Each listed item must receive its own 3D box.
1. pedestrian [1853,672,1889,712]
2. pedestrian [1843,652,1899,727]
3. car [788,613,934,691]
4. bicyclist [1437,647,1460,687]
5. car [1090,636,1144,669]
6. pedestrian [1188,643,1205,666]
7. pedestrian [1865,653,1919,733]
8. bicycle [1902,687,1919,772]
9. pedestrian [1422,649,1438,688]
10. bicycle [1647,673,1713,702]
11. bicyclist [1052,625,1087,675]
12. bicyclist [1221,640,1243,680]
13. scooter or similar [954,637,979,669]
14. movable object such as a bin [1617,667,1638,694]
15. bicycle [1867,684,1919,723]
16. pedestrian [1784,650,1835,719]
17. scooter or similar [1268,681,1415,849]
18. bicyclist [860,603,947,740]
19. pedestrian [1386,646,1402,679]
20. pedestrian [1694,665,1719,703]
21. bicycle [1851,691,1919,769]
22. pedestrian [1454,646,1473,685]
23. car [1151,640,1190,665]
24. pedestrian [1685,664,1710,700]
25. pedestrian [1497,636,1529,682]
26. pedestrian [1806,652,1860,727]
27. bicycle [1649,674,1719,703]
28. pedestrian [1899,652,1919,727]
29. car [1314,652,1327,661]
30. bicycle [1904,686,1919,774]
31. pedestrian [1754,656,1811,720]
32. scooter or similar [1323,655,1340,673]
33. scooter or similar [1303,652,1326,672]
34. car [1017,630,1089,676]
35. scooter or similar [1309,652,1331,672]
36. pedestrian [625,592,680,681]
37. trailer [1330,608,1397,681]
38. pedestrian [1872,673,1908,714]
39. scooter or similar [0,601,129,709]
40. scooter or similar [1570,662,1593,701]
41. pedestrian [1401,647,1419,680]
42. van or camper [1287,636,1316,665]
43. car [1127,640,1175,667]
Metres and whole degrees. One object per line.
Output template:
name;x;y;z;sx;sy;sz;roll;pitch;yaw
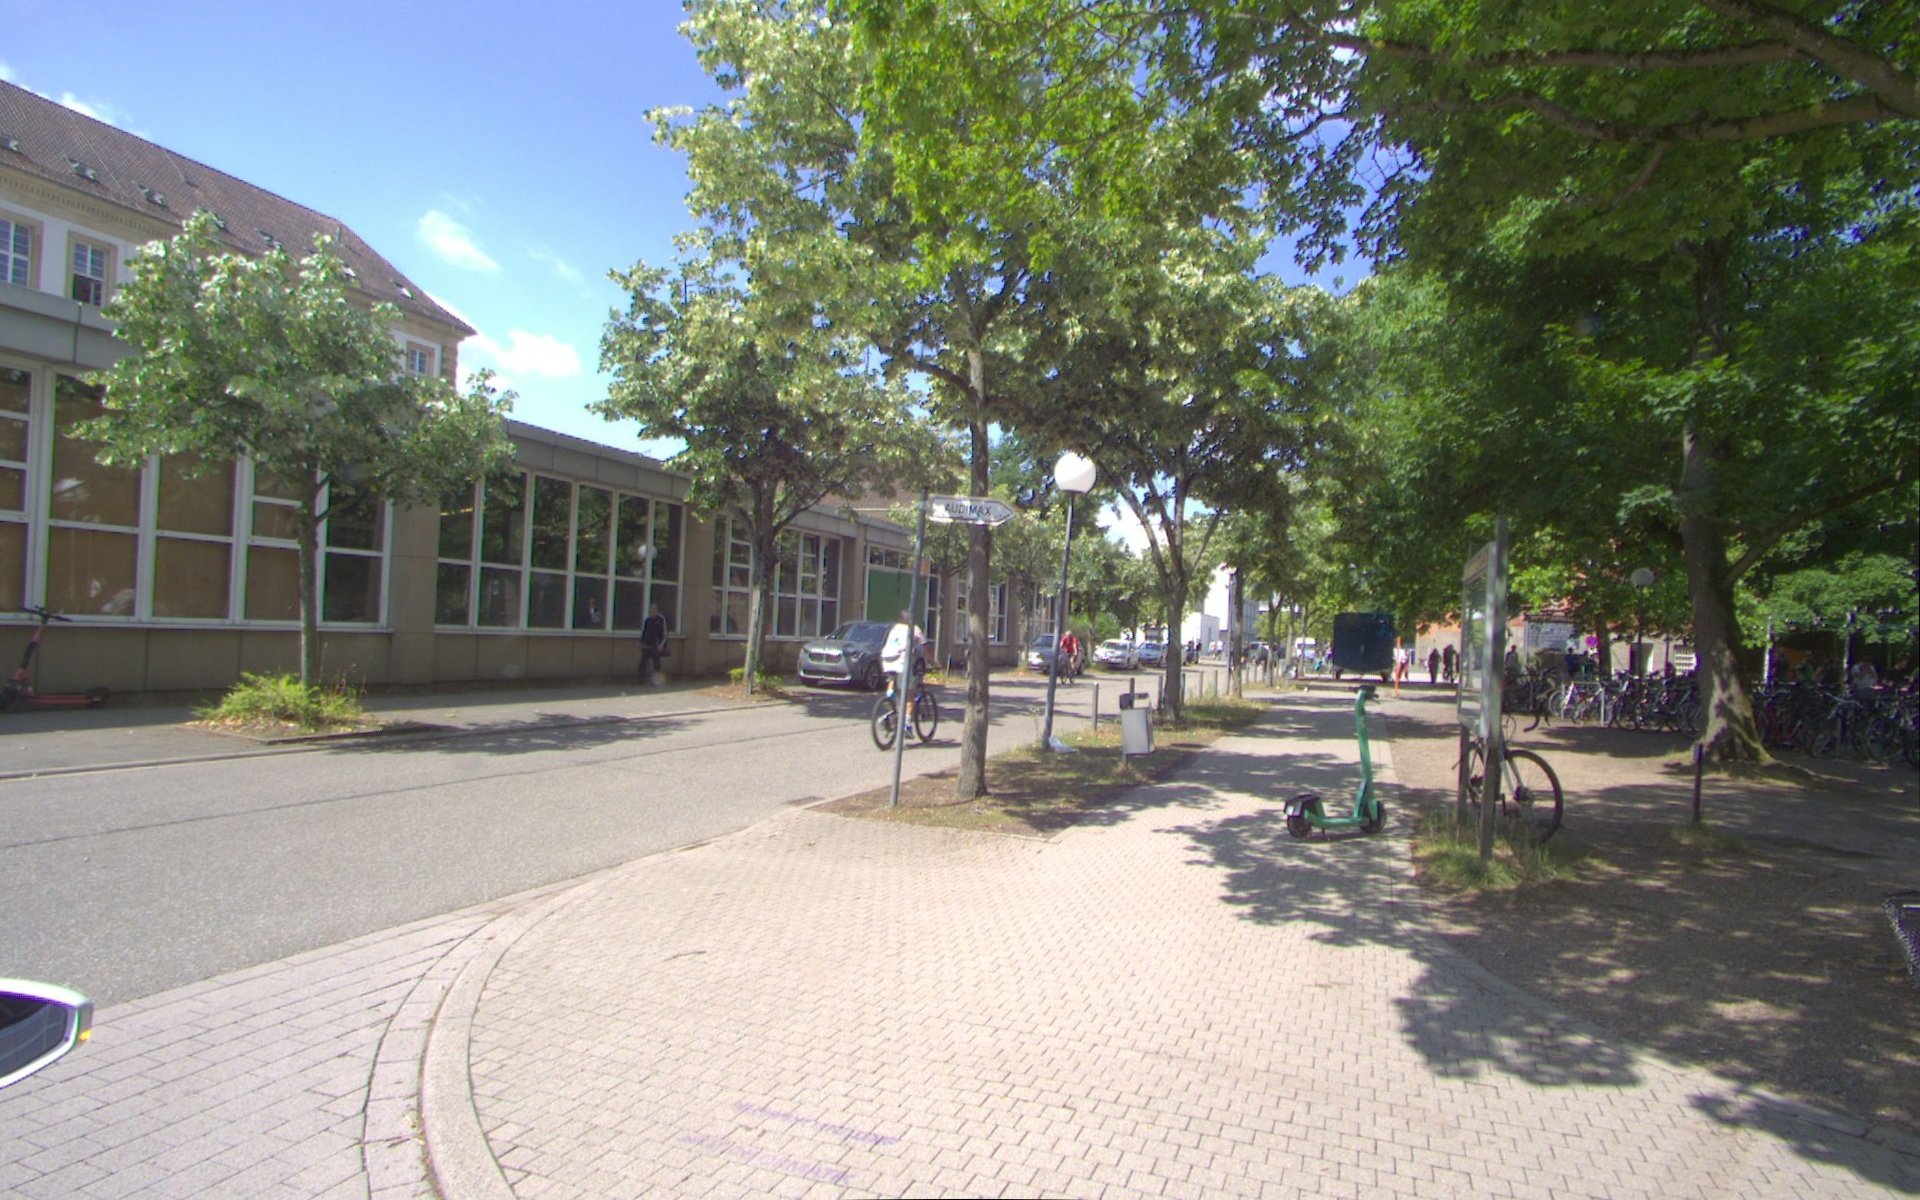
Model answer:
pedestrian;30.629;3.077;33.672;0.657;1.287;0.621;-1;-1;19
pedestrian;22.648;2.208;24.904;0.731;1.798;0.720;2;0;15
car;-2.388;1.299;25.423;1.795;1.653;4.511;5;-1;20
bicyclist;21.882;2.987;44.840;0.521;1.751;1.079;1;-1;3
car;7.980;2.648;50.470;1.700;1.475;4.576;5;-1;21
pedestrian;17.275;3.971;73.135;0.836;1.616;0.828;2;-1;-20
pedestrian;21.881;2.156;23.404;0.731;1.798;0.720;2;0;-8
bicycle;14.496;1.884;14.403;1.760;1.185;0.402;3;-1;-11
pedestrian;19.650;2.860;41.886;0.560;1.590;0.926;1;-4;23
bicycle;32.196;3.903;44.819;2.372;1.085;0.778;2;-2;36
bicyclist;3.616;1.656;33.082;0.823;1.563;0.958;5;0;19
bicyclist;12.496;2.751;46.015;0.797;1.778;0.691;3;-1;24
scooter or similar;0.260;2.075;39.257;0.498;1.184;1.213;4;-1;23
movable object such as a bin;28.098;3.407;42.164;0.591;1.084;0.741;3;-3;24
bicycle;26.031;2.828;27.337;1.921;0.991;0.613;2;-2;4
pedestrian;23.184;2.295;27.335;0.730;1.798;0.721;2;0;-2
scooter or similar;2.965;1.221;7.735;1.349;1.129;0.492;2;0;-43
bicyclist;-0.771;0.974;13.929;0.760;1.779;0.846;5;0;24
pedestrian;22.492;3.248;51.919;0.687;1.682;0.786;2;-1;23
pedestrian;28.127;3.159;37.736;0.561;1.364;0.728;-1;-1;18
bicycle;14.093;1.920;14.791;1.760;1.084;0.426;3;-1;-13
pedestrian;25.180;3.278;50.057;0.754;1.878;0.822;2;-1;23
car;13.451;3.357;63.851;1.639;1.430;3.800;4;-1;22
pedestrian;28.351;3.141;38.501;0.561;1.364;0.728;-1;-1;18
pedestrian;24.169;2.568;43.766;0.819;1.974;1.079;1;-1;3
pedestrian;21.879;2.218;25.119;0.731;1.798;0.720;2;0;15
bicycle;31.777;3.874;44.007;2.368;1.085;0.780;2;-2;30
pedestrian;23.558;2.185;24.360;0.731;1.798;0.720;2;0;15
car;67.924;10.615;188.494;1.772;1.549;3.988;2;-2;27
bicycle;14.047;1.830;13.900;1.760;1.185;0.402;3;-1;-11
pedestrian;24.281;2.576;29.581;0.943;1.798;0.919;2;0;15
scooter or similar;24.253;4.187;65.404;0.642;1.175;1.256;2;-2;38
scooter or similar;23.828;4.181;67.280;0.643;1.281;1.256;3;-1;-35
car;3.771;2.118;39.953;1.732;1.576;4.107;5;-1;21
scooter or similar;24.430;4.207;67.902;0.632;1.281;1.256;3;-1;-35
pedestrian;-6.545;0.777;21.349;0.777;1.810;0.668;4;1;24
trailer;18.622;2.070;46.328;2.654;3.090;6.247;1;-2;21
pedestrian;30.466;3.046;32.815;0.657;1.287;0.621;-1;-1;19
scooter or similar;-10.934;0.648;12.138;0.377;1.223;1.243;5;0;21
scooter or similar;20.615;2.690;33.245;0.418;1.234;1.292;2;-2;23
pedestrian;23.185;3.263;51.595;0.754;1.682;0.822;2;-2;23
van or camper;31.525;4.663;92.490;1.967;2.476;4.559;2;-3;25
car;11.115;3.099;58.078;1.701;1.361;4.155;4;-1;24
